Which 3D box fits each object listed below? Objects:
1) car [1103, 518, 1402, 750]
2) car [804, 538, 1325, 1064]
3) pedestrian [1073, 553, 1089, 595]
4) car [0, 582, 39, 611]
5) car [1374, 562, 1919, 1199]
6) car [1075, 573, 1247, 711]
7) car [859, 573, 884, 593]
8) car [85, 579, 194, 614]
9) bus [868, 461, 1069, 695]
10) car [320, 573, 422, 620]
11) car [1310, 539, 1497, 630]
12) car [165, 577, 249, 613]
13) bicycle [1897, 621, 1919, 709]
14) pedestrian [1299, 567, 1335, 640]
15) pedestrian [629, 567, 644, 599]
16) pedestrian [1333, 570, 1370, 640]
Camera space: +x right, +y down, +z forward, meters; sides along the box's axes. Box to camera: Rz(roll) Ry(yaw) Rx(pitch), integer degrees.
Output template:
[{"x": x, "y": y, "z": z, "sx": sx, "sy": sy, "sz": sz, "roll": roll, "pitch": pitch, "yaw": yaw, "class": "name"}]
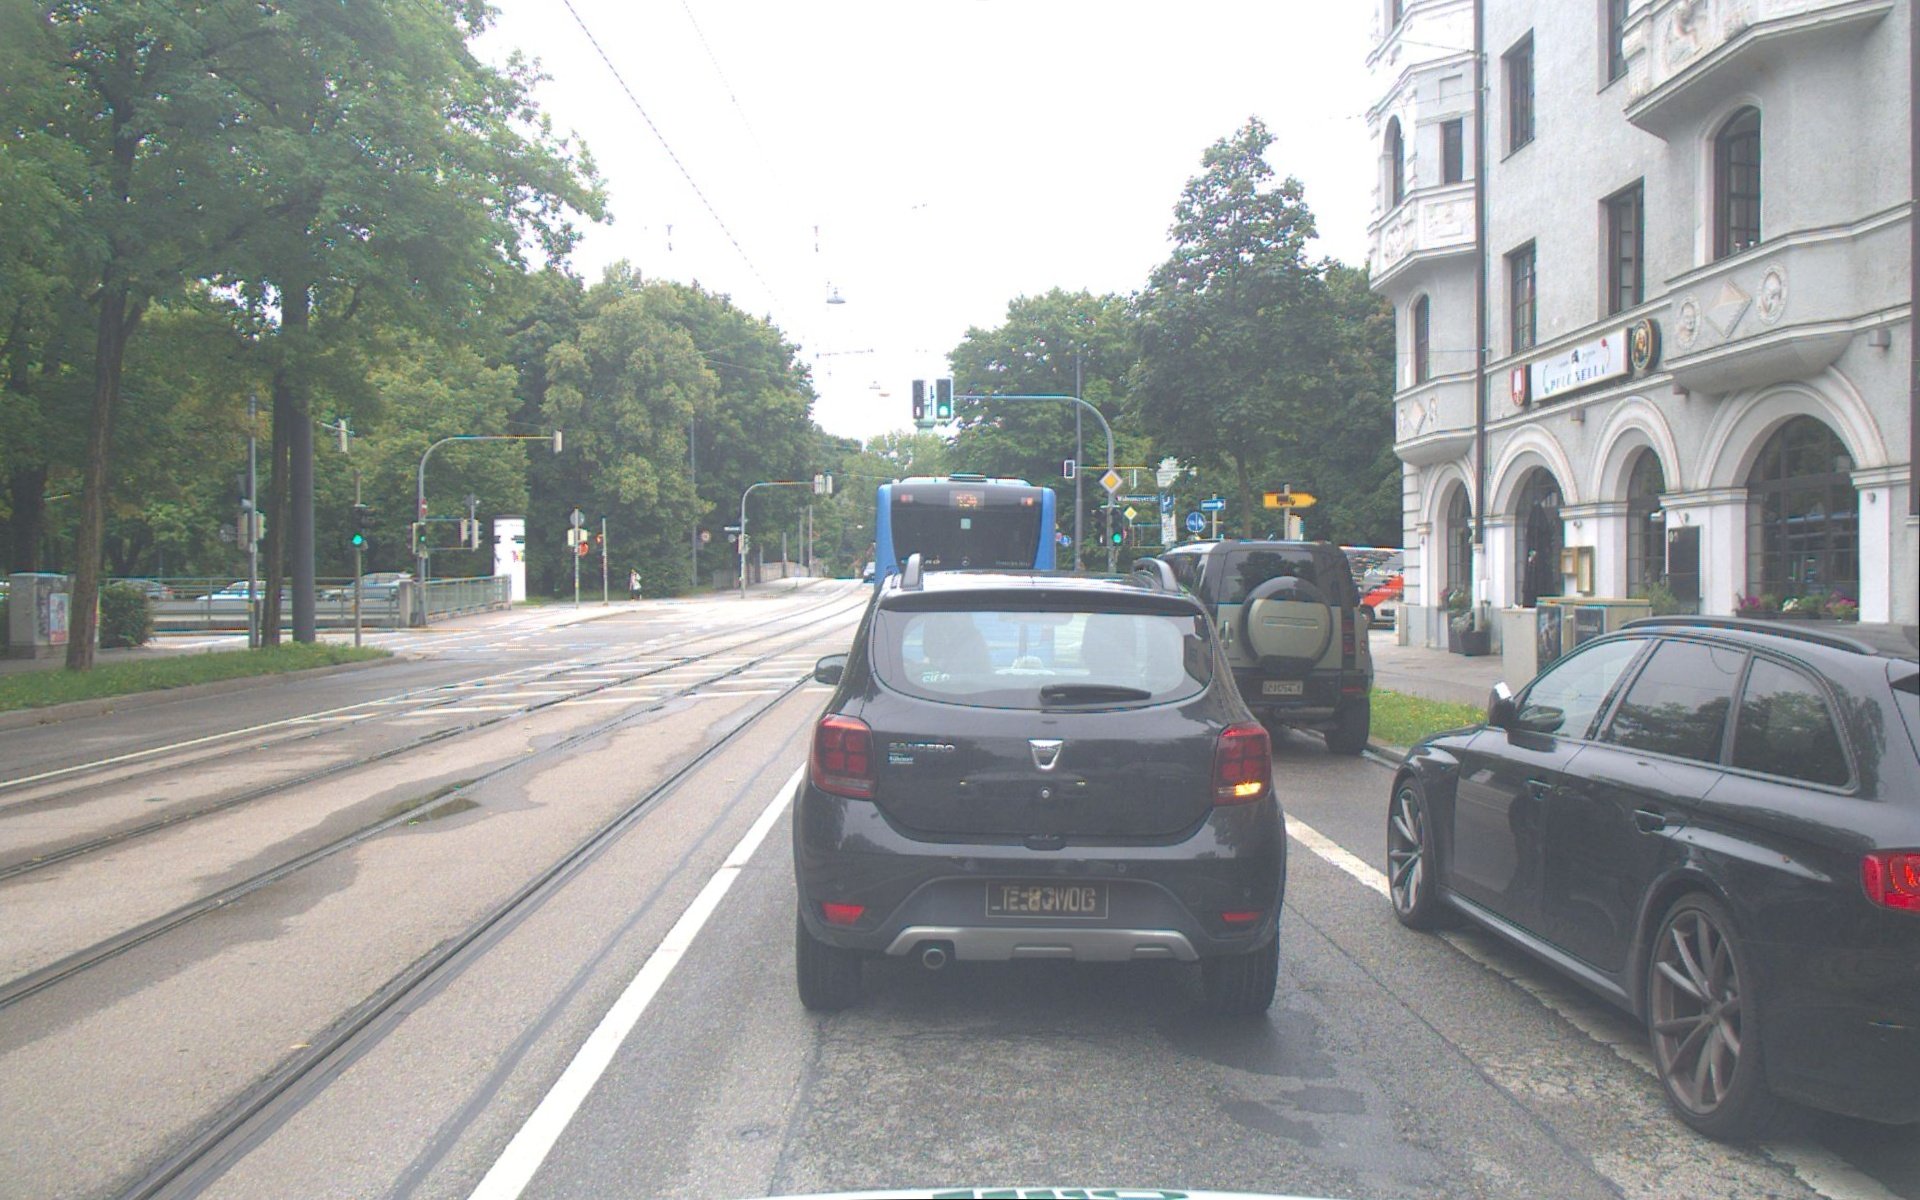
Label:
[{"x": 2.712, "y": 0.282, "z": 16.536, "sx": 1.876, "sy": 1.939, "sz": 4.805, "roll": 1, "pitch": 0, "yaw": -3, "class": "car"}, {"x": 0.285, "y": 0.613, "z": 6.843, "sx": 1.568, "sy": 1.584, "sz": 3.524, "roll": 1, "pitch": 0, "yaw": -1, "class": "car"}, {"x": 6.254, "y": -1.355, "z": 85.316, "sx": 0.747, "sy": 2.153, "sz": 0.853, "roll": -1, "pitch": 1, "yaw": -1, "class": "pedestrian"}, {"x": -41.922, "y": -0.171, "z": 71.266, "sx": 3.656, "sy": 1.206, "sz": 1.249, "roll": 1, "pitch": 0, "yaw": -6, "class": "car"}, {"x": 2.942, "y": 0.650, "z": 5.859, "sx": 1.681, "sy": 1.451, "sz": 4.601, "roll": 1, "pitch": 0, "yaw": -1, "class": "car"}, {"x": 2.563, "y": 0.498, "z": 22.048, "sx": 1.679, "sy": 1.619, "sz": 4.326, "roll": 1, "pitch": 0, "yaw": -1, "class": "car"}, {"x": -6.400, "y": -1.257, "z": 120.134, "sx": 1.752, "sy": 1.394, "sz": 3.399, "roll": 1, "pitch": 0, "yaw": -2, "class": "car"}, {"x": -35.618, "y": -0.158, "z": 71.887, "sx": 3.848, "sy": 1.429, "sz": 1.719, "roll": 1, "pitch": 0, "yaw": -5, "class": "car"}, {"x": -0.034, "y": -0.311, "z": 25.532, "sx": 2.625, "sy": 3.050, "sz": 6.957, "roll": 1, "pitch": 0, "yaw": -3, "class": "bus"}, {"x": -25.911, "y": -0.153, "z": 72.814, "sx": 3.946, "sy": 1.920, "sz": 1.488, "roll": 1, "pitch": 0, "yaw": -8, "class": "car"}, {"x": 13.799, "y": -0.469, "z": 51.661, "sx": 5.191, "sy": 2.658, "sz": 2.229, "roll": 1, "pitch": 0, "yaw": -4, "class": "car"}, {"x": -32.778, "y": -0.225, "z": 72.020, "sx": 3.050, "sy": 1.477, "sz": 1.249, "roll": 1, "pitch": 0, "yaw": -6, "class": "car"}, {"x": 10.456, "y": 0.704, "z": 17.783, "sx": 0.254, "sy": 0.947, "sz": 0.886, "roll": 1, "pitch": 0, "yaw": 0, "class": "bicycle"}, {"x": 9.216, "y": 0.089, "z": 42.685, "sx": 0.690, "sy": 1.848, "sz": 0.869, "roll": 1, "pitch": 0, "yaw": -1, "class": "pedestrian"}, {"x": -15.845, "y": -0.819, "z": 80.994, "sx": 0.520, "sy": 1.527, "sz": 0.588, "roll": 1, "pitch": 0, "yaw": 4, "class": "pedestrian"}, {"x": 10.011, "y": 0.117, "z": 42.292, "sx": 0.690, "sy": 1.762, "sz": 0.843, "roll": 1, "pitch": 0, "yaw": -1, "class": "pedestrian"}]
